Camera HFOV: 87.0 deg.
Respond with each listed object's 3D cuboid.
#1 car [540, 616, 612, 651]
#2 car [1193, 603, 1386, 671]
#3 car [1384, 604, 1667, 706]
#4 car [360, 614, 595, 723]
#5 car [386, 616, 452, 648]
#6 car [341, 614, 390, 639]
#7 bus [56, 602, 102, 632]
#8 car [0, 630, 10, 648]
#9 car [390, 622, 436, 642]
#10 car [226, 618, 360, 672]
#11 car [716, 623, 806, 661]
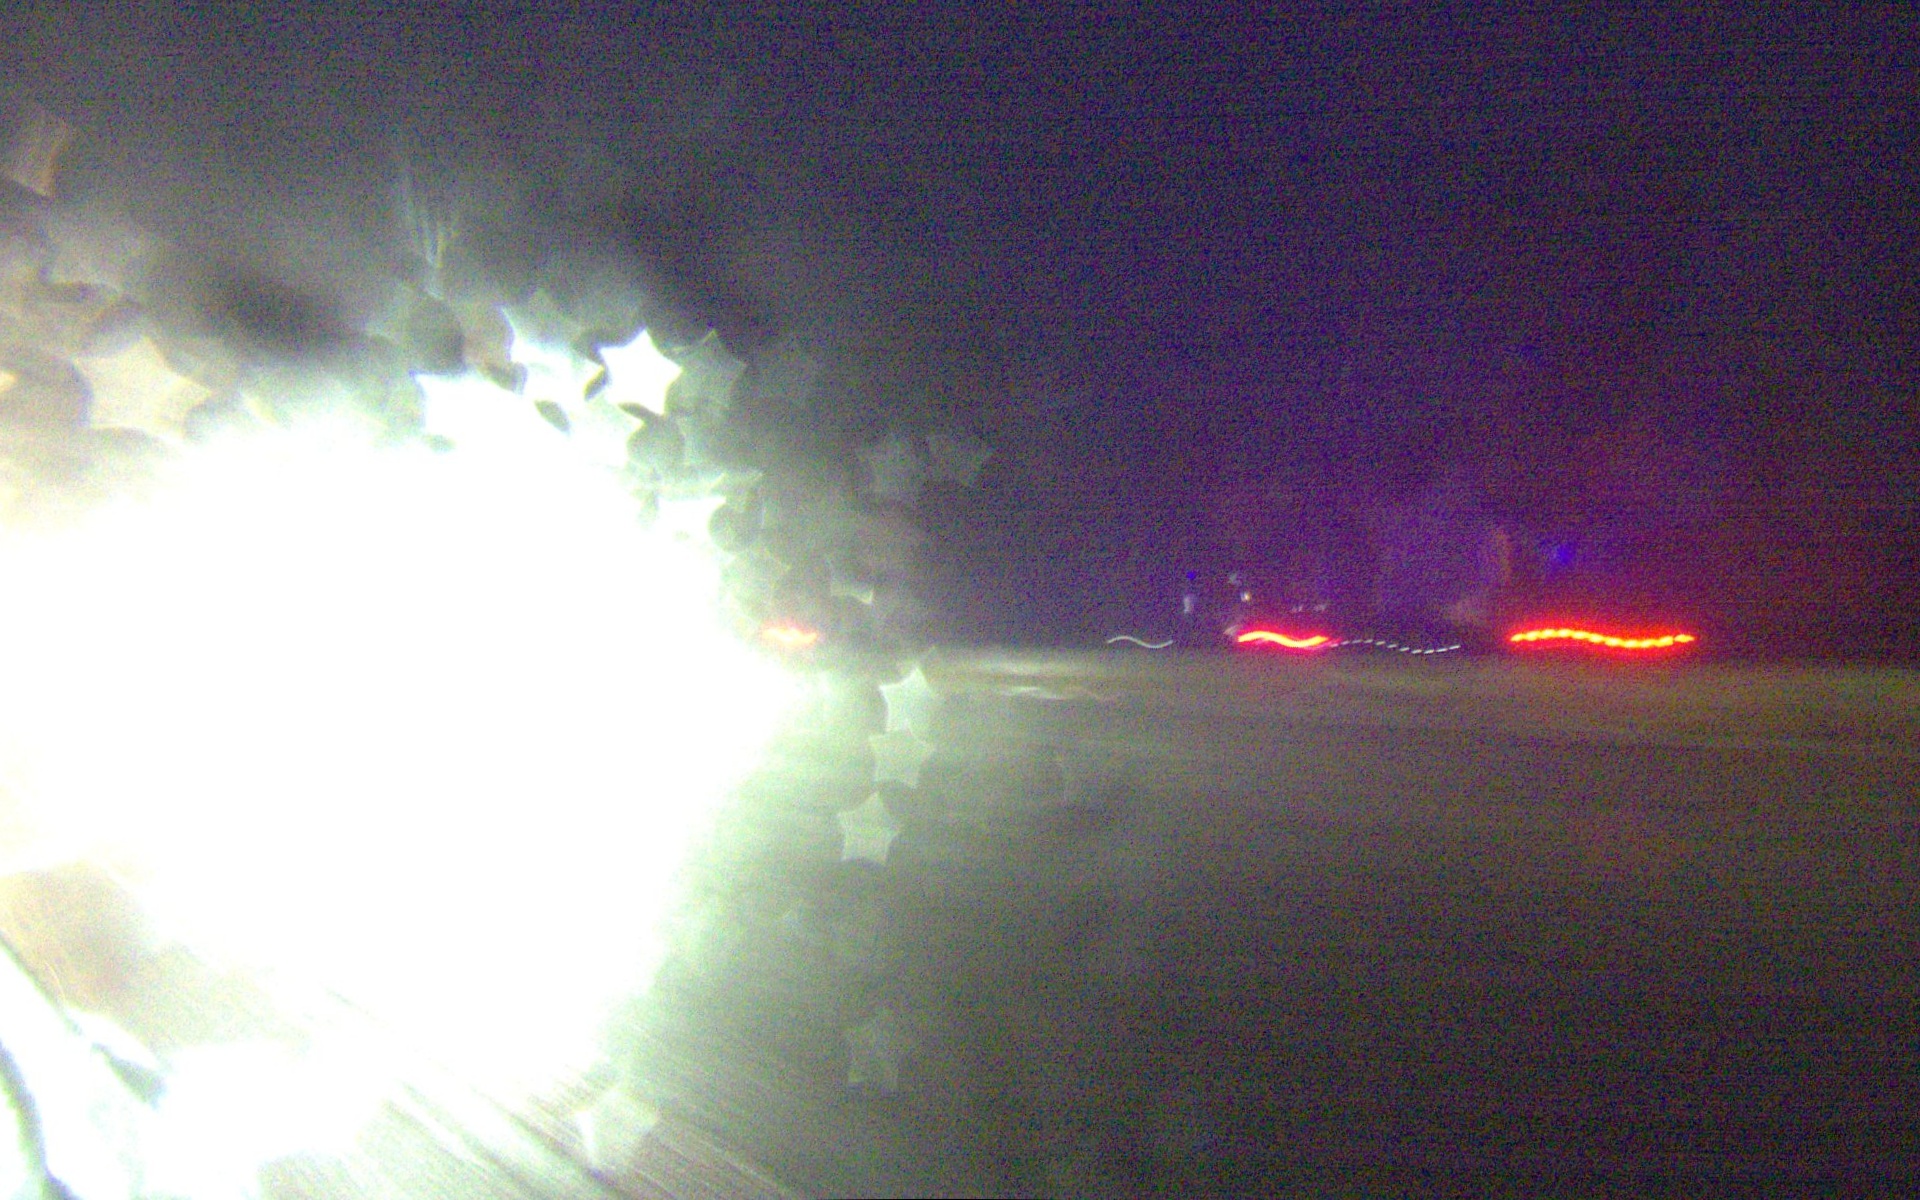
[{"bbox_3d":[-20.415,1.720,53.703,1.858,1.734,4.566,-1,0,-45],"label":"car"},{"bbox_3d":[9.095,0.967,28.212,4.768,1.734,1.860,-1,0,42],"label":"car"},{"bbox_3d":[10.874,0.977,19.629,4.558,1.734,1.862,-1,0,39],"label":"car"},{"bbox_3d":[-7.723,0.981,16.056,3.999,1.452,1.973,-1,0,42],"label":"car"},{"bbox_3d":[-32.080,1.855,59.981,4.559,1.734,1.861,-1,0,40],"label":"car"},{"bbox_3d":[-44.701,1.965,76.057,4.562,1.734,1.860,-1,0,42],"label":"car"},{"bbox_3d":[-135.582,2.573,155.591,16.538,4.482,3.335,-1,0,42],"label":"bus"},{"bbox_3d":[-87.751,3.547,91.796,4.586,1.572,1.972,-1,0,42],"label":"car"},{"bbox_3d":[-42.879,2.485,79.374,3.892,1.444,1.861,-1,0,40],"label":"car"},{"bbox_3d":[-20.638,1.321,31.232,5.159,1.487,1.974,-1,0,39],"label":"car"},{"bbox_3d":[-9.796,2.024,49.690,4.559,1.734,1.861,-1,0,40],"label":"car"}]
